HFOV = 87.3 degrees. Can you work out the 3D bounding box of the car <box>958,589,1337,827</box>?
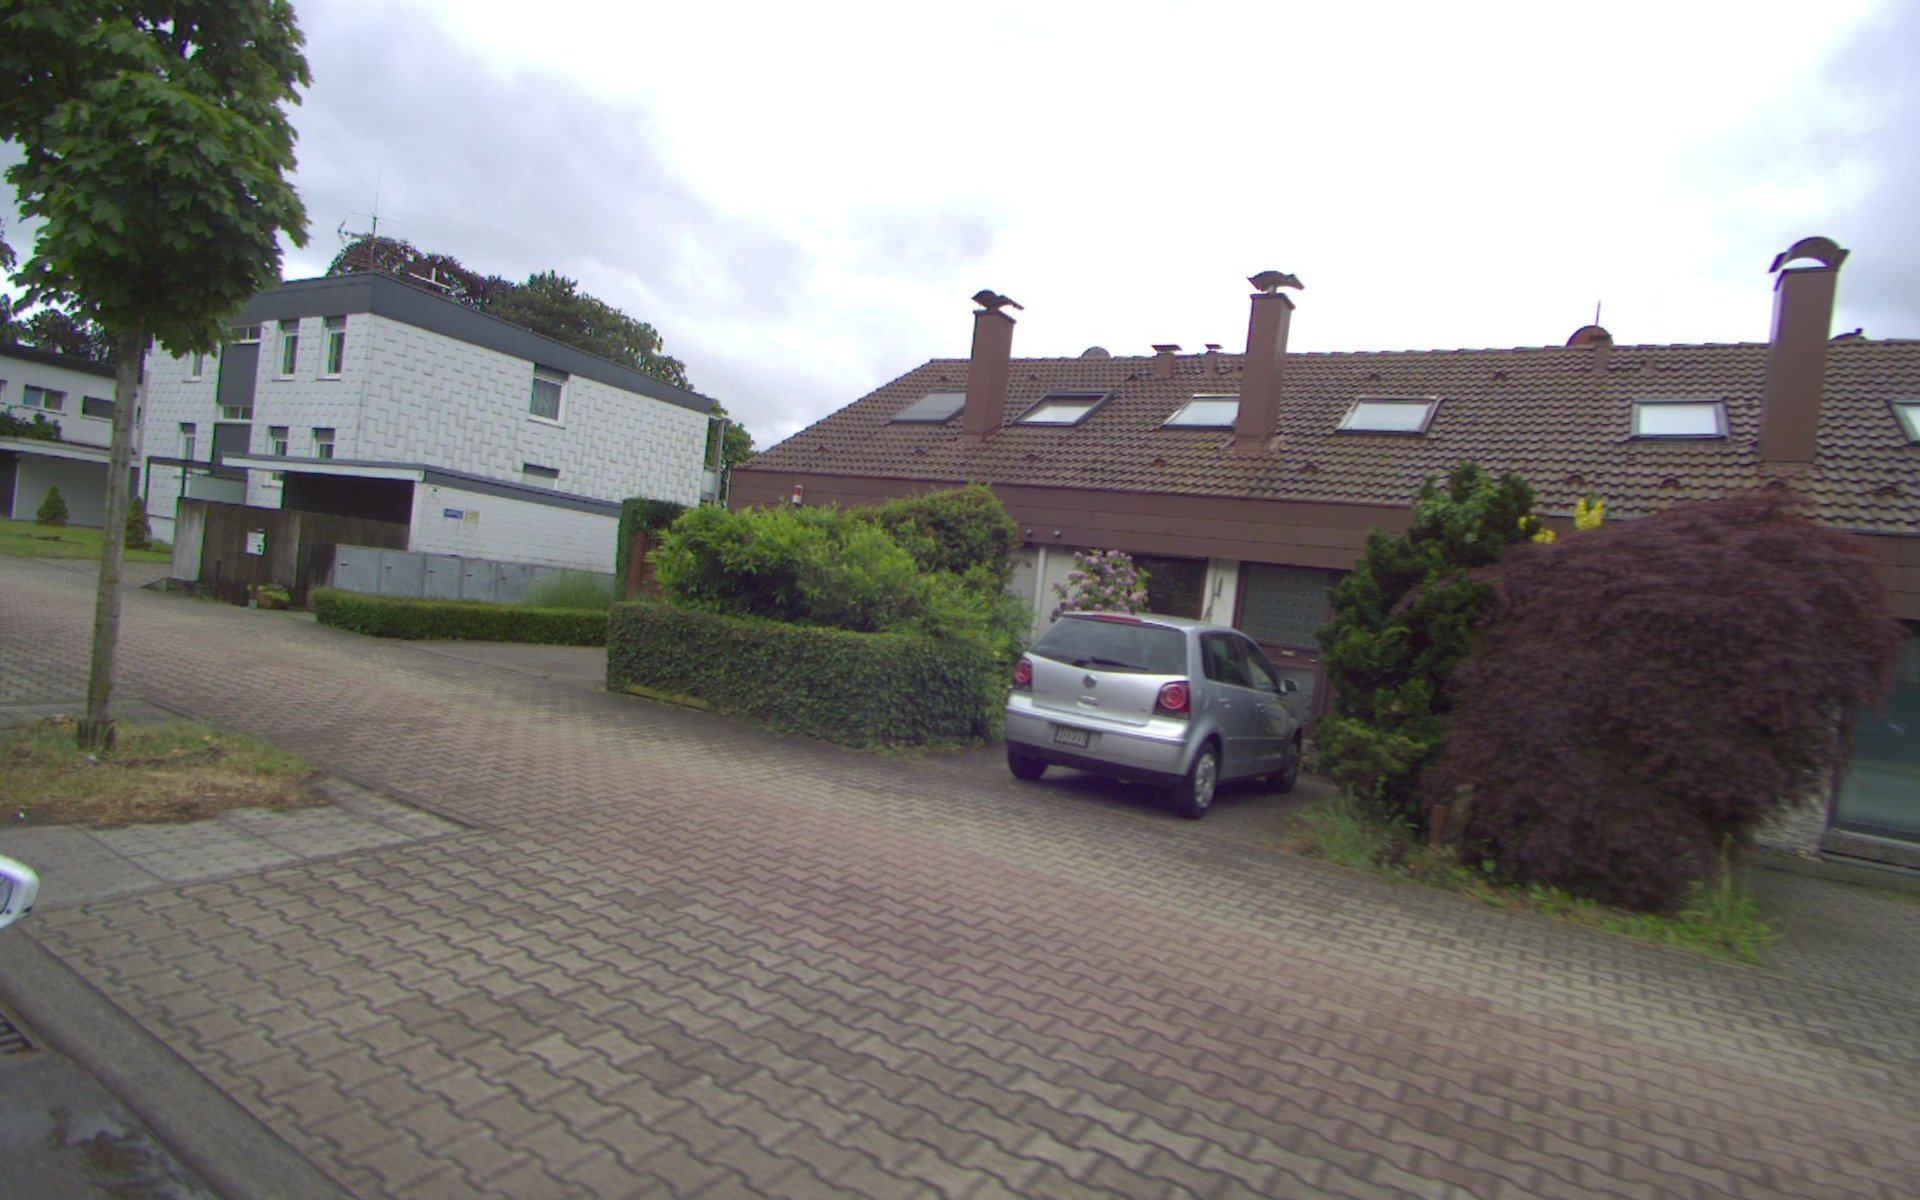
[{"bbox_3d":[1.888,0.856,8.955,1.817,1.460,3.990,6,0,33],"label":"car"}]
